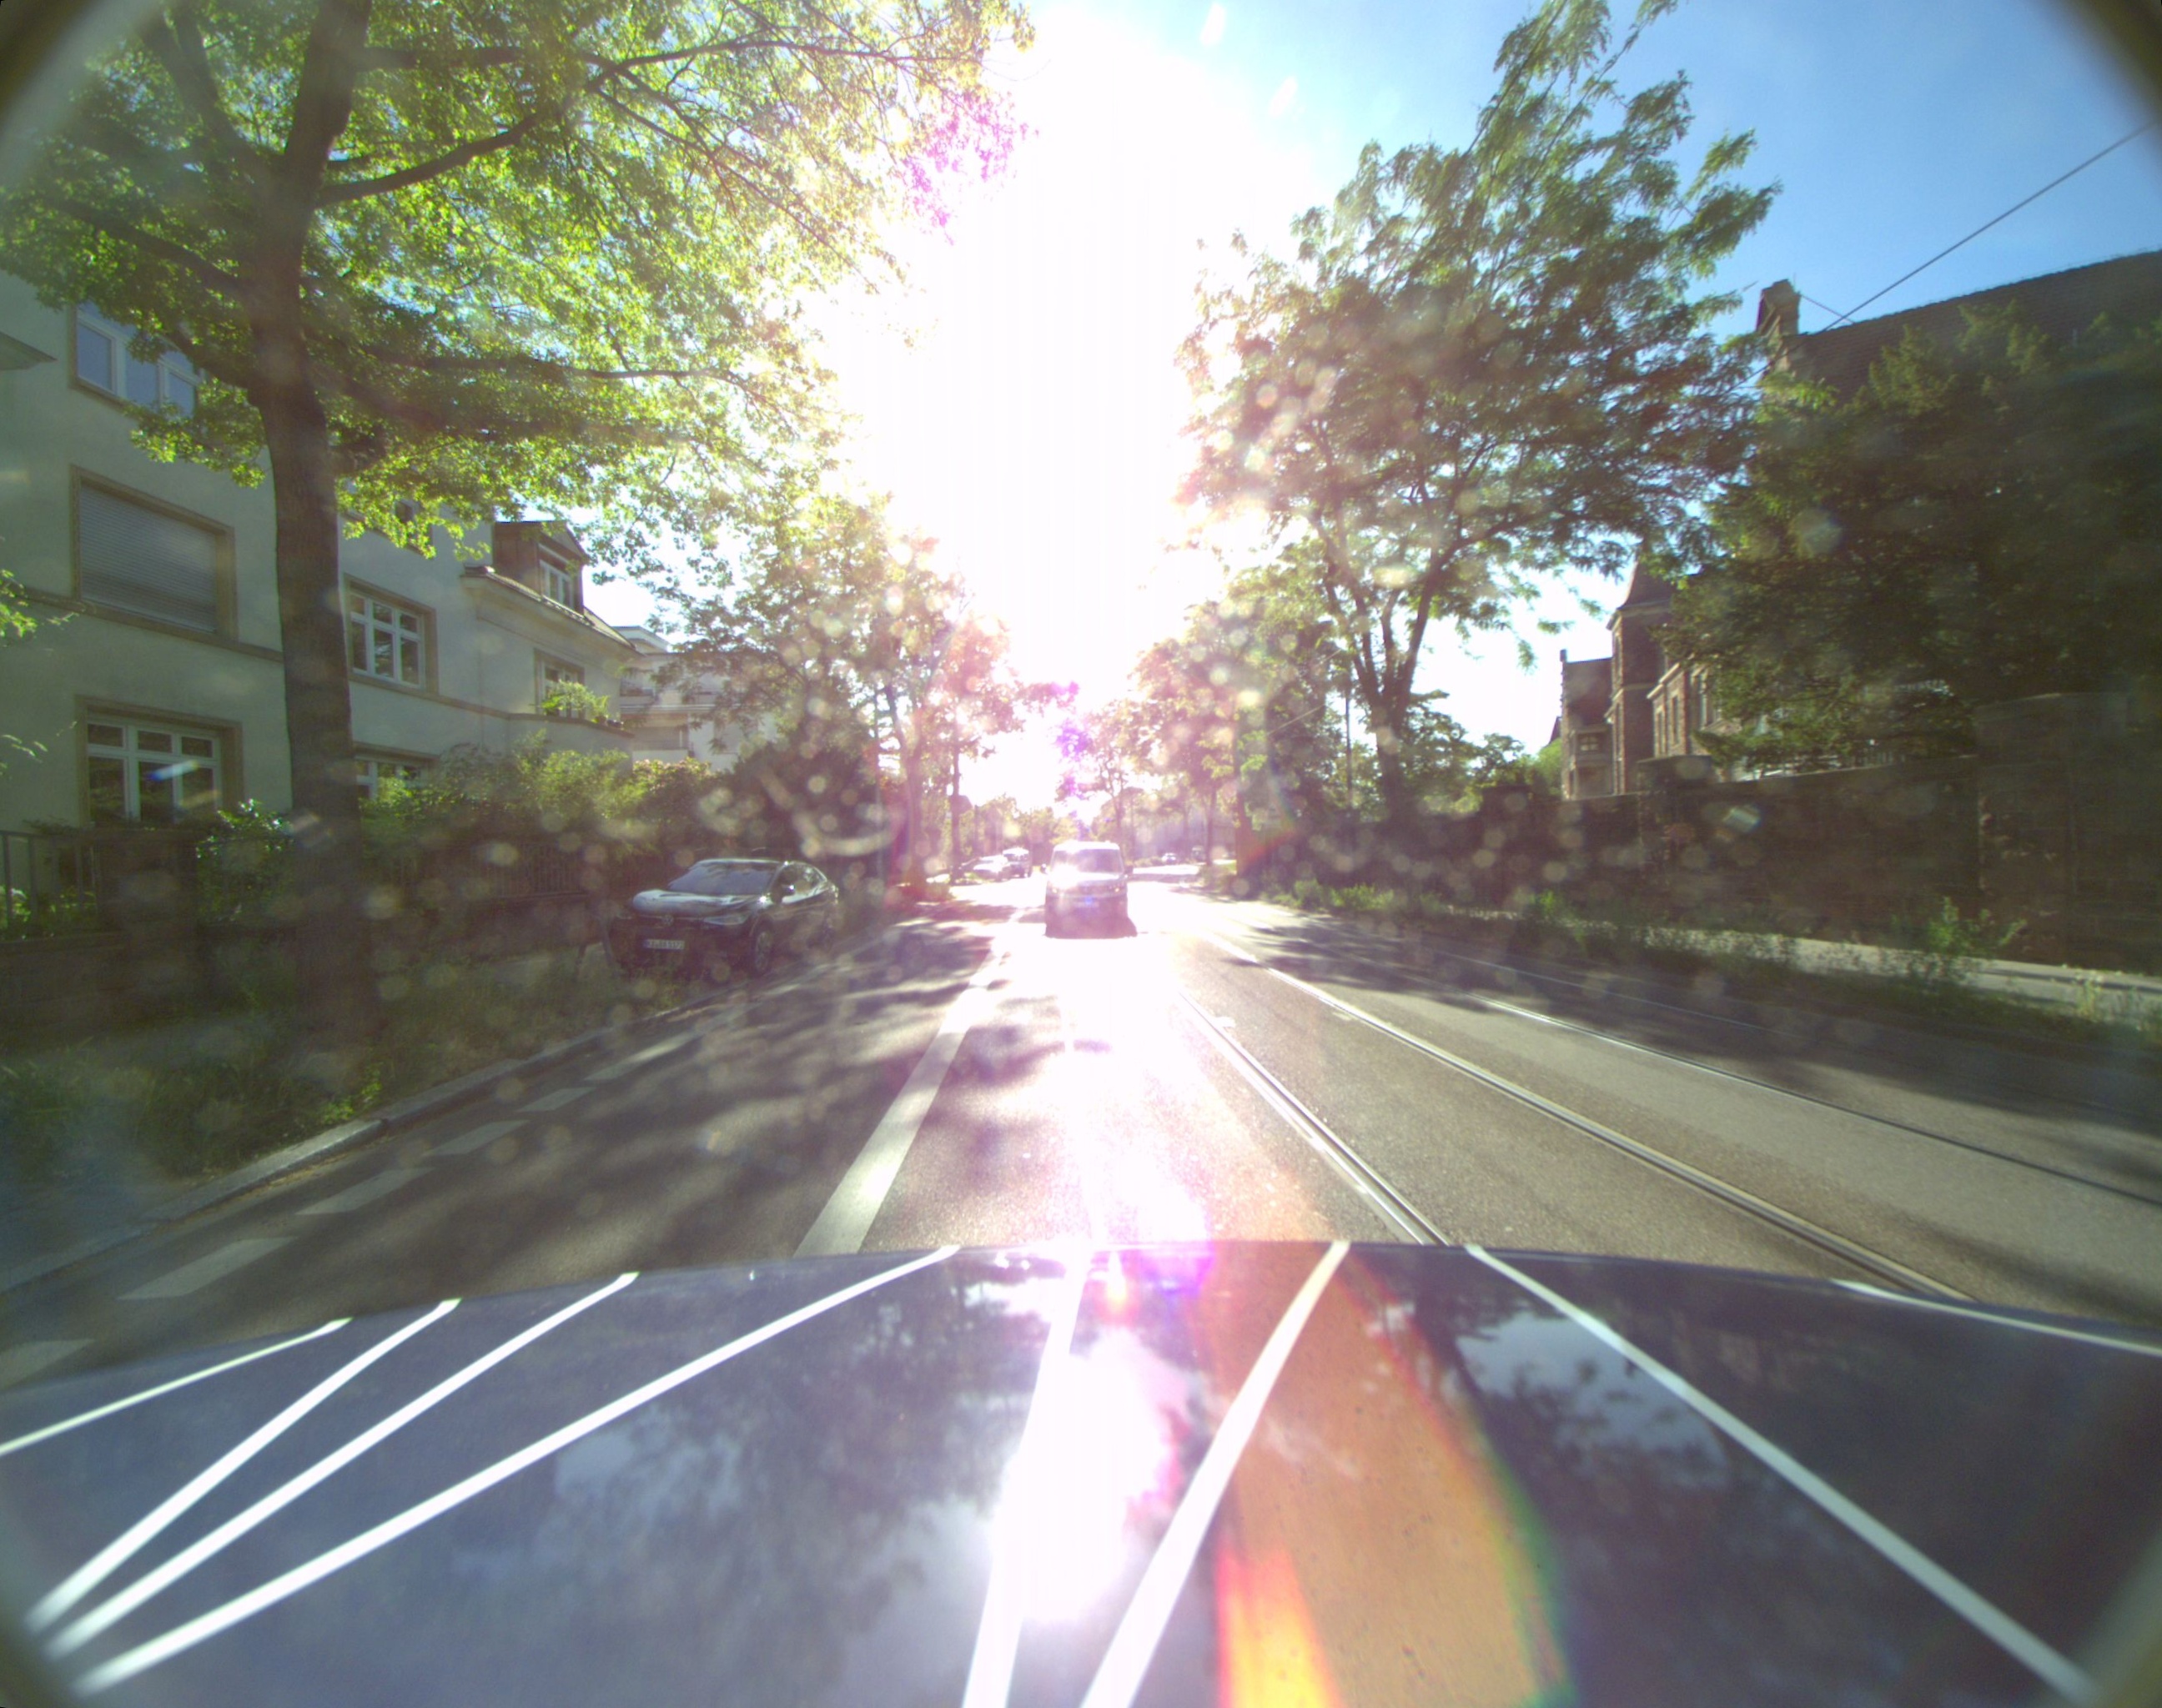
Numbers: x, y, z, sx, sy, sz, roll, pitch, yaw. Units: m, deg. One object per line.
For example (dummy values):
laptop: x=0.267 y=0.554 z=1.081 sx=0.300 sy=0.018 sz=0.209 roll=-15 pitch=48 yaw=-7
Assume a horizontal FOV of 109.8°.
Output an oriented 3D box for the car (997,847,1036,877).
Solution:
car: x=-4.354 y=0.498 z=51.777 sx=2.129 sy=1.884 sz=4.746 roll=-2 pitch=0 yaw=1

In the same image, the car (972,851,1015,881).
car: x=-5.170 y=0.659 z=45.225 sx=1.823 sy=1.630 sz=4.001 roll=-2 pitch=0 yaw=4

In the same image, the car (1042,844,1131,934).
car: x=0.106 y=0.705 z=17.401 sx=1.768 sy=1.812 sz=3.999 roll=-1 pitch=0 yaw=0

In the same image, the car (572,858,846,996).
car: x=-5.249 y=0.929 z=11.543 sx=1.999 sy=1.665 sz=4.380 roll=1 pitch=-1 yaw=0
